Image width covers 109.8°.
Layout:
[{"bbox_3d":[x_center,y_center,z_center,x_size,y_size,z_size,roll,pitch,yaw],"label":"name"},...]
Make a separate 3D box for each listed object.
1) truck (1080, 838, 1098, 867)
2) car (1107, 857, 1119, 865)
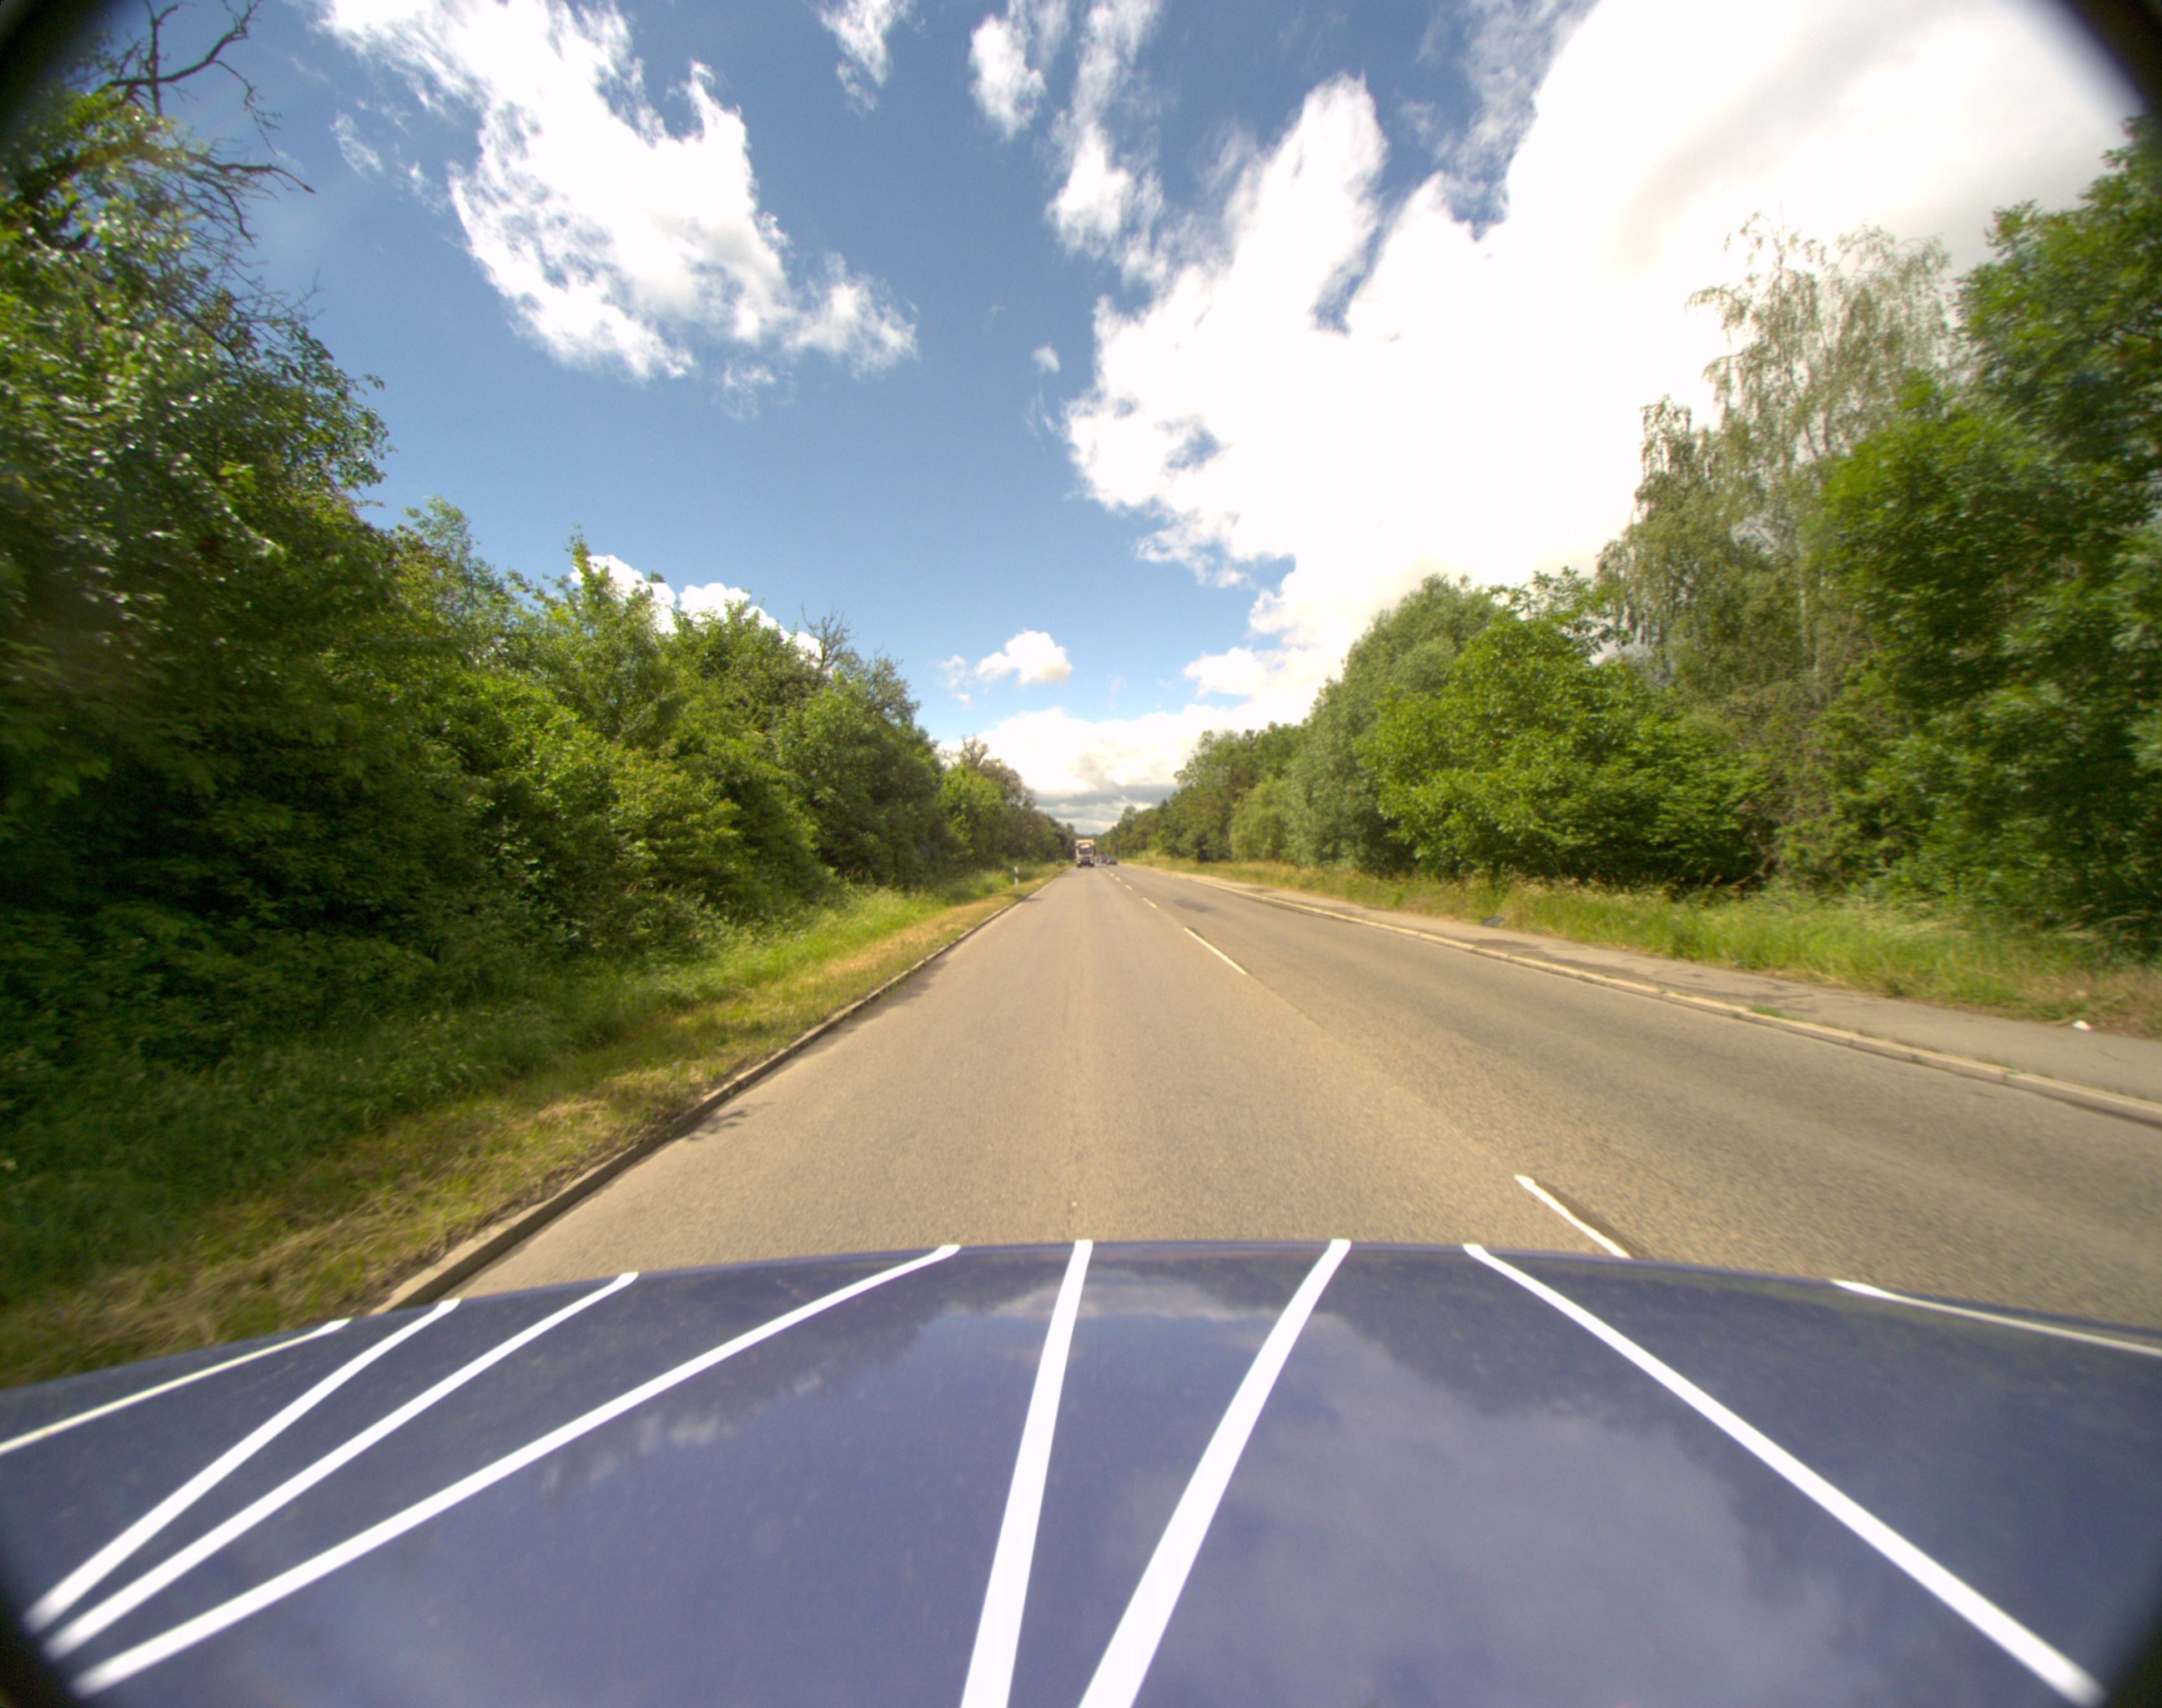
[{"bbox_3d":[1.064,-0.182,108.147,2.306,3.789,8.183,-3,-1,0],"label":"truck"},{"bbox_3d":[5.581,1.235,131.244,1.789,1.326,4.622,1,-1,-1],"label":"car"}]
